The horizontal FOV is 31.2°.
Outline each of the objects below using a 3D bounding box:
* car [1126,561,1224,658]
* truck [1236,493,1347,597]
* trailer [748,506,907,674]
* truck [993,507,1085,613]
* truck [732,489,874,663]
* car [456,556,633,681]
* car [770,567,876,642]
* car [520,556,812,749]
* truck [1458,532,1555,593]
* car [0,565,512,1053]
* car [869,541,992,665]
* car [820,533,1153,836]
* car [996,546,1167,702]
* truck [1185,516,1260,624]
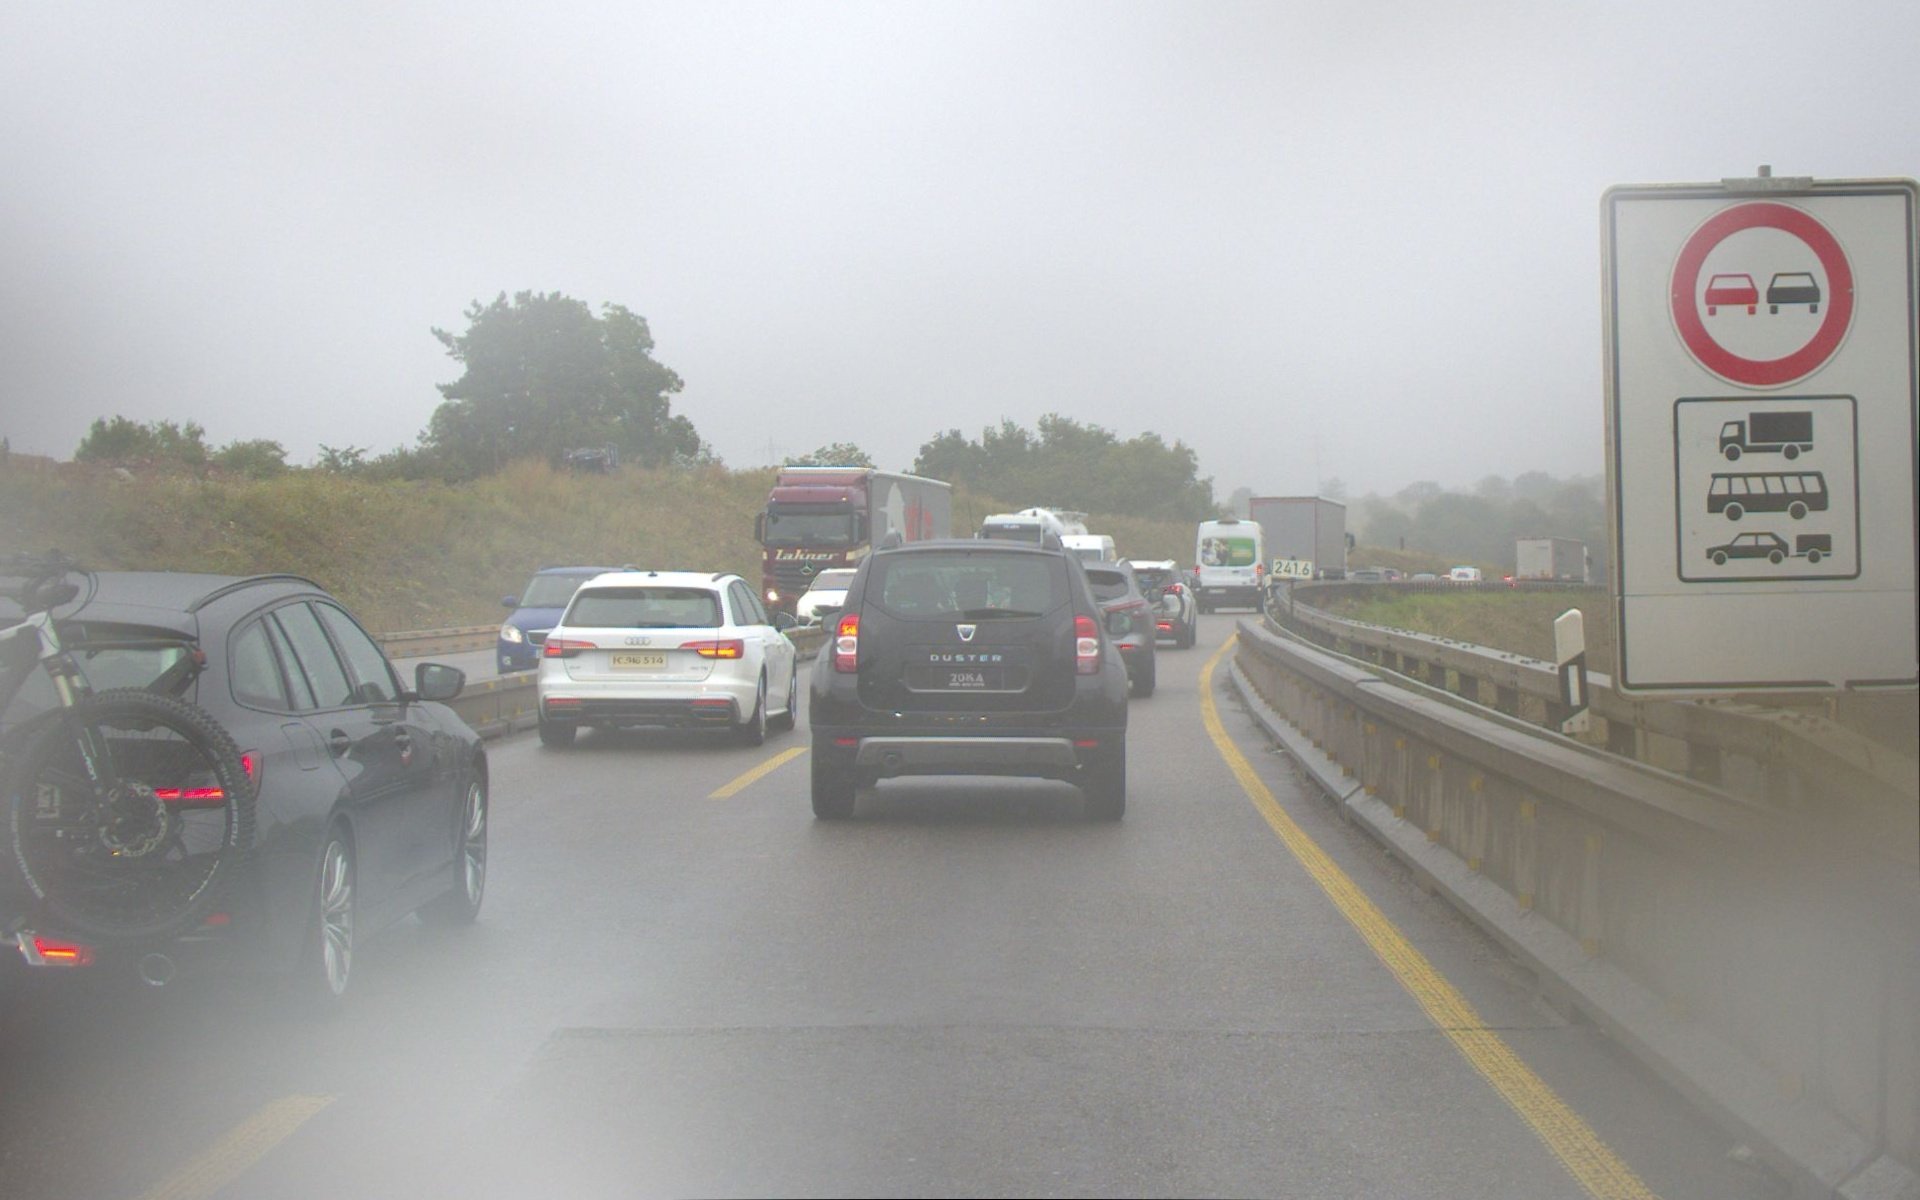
[{"bbox_3d":[3.827,0.142,60.636,1.531,1.635,4.012,1,1,6],"label":"car"},{"bbox_3d":[12.583,-2.047,129.822,3.202,3.748,8.505,1,1,12],"label":"truck"},{"bbox_3d":[-3.671,-0.392,99.674,2.995,4.406,15.701,-2,1,3],"label":"trailer"},{"bbox_3d":[3.064,-1.502,132.006,3.231,3.942,5.880,0,0,4],"label":"truck"},{"bbox_3d":[-4.123,-0.670,91.797,2.980,4.394,6.931,-2,1,3],"label":"truck"},{"bbox_3d":[-5.217,0.204,43.570,1.649,1.497,3.829,1,1,2],"label":"car"},{"bbox_3d":[-2.841,0.078,72.226,1.744,1.497,4.634,1,1,3],"label":"car"},{"bbox_3d":[-2.361,0.380,28.693,1.868,1.455,4.548,1,1,2],"label":"car"},{"bbox_3d":[38.836,-2.599,243.636,4.721,4.136,15.670,1,1,17],"label":"truck"},{"bbox_3d":[-2.829,0.628,12.279,1.829,1.471,3.776,0,0,2],"label":"car"},{"bbox_3d":[-0.431,0.032,54.609,1.660,1.873,4.019,1,1,3],"label":"car"},{"bbox_3d":[0.122,0.455,20.629,1.804,1.640,3.776,0,0,-1],"label":"car"},{"bbox_3d":[1.425,0.245,39.917,1.868,1.703,4.000,1,0,2],"label":"car"},{"bbox_3d":[8.017,-0.922,104.610,2.149,3.155,6.458,1,1,5],"label":"truck"}]
